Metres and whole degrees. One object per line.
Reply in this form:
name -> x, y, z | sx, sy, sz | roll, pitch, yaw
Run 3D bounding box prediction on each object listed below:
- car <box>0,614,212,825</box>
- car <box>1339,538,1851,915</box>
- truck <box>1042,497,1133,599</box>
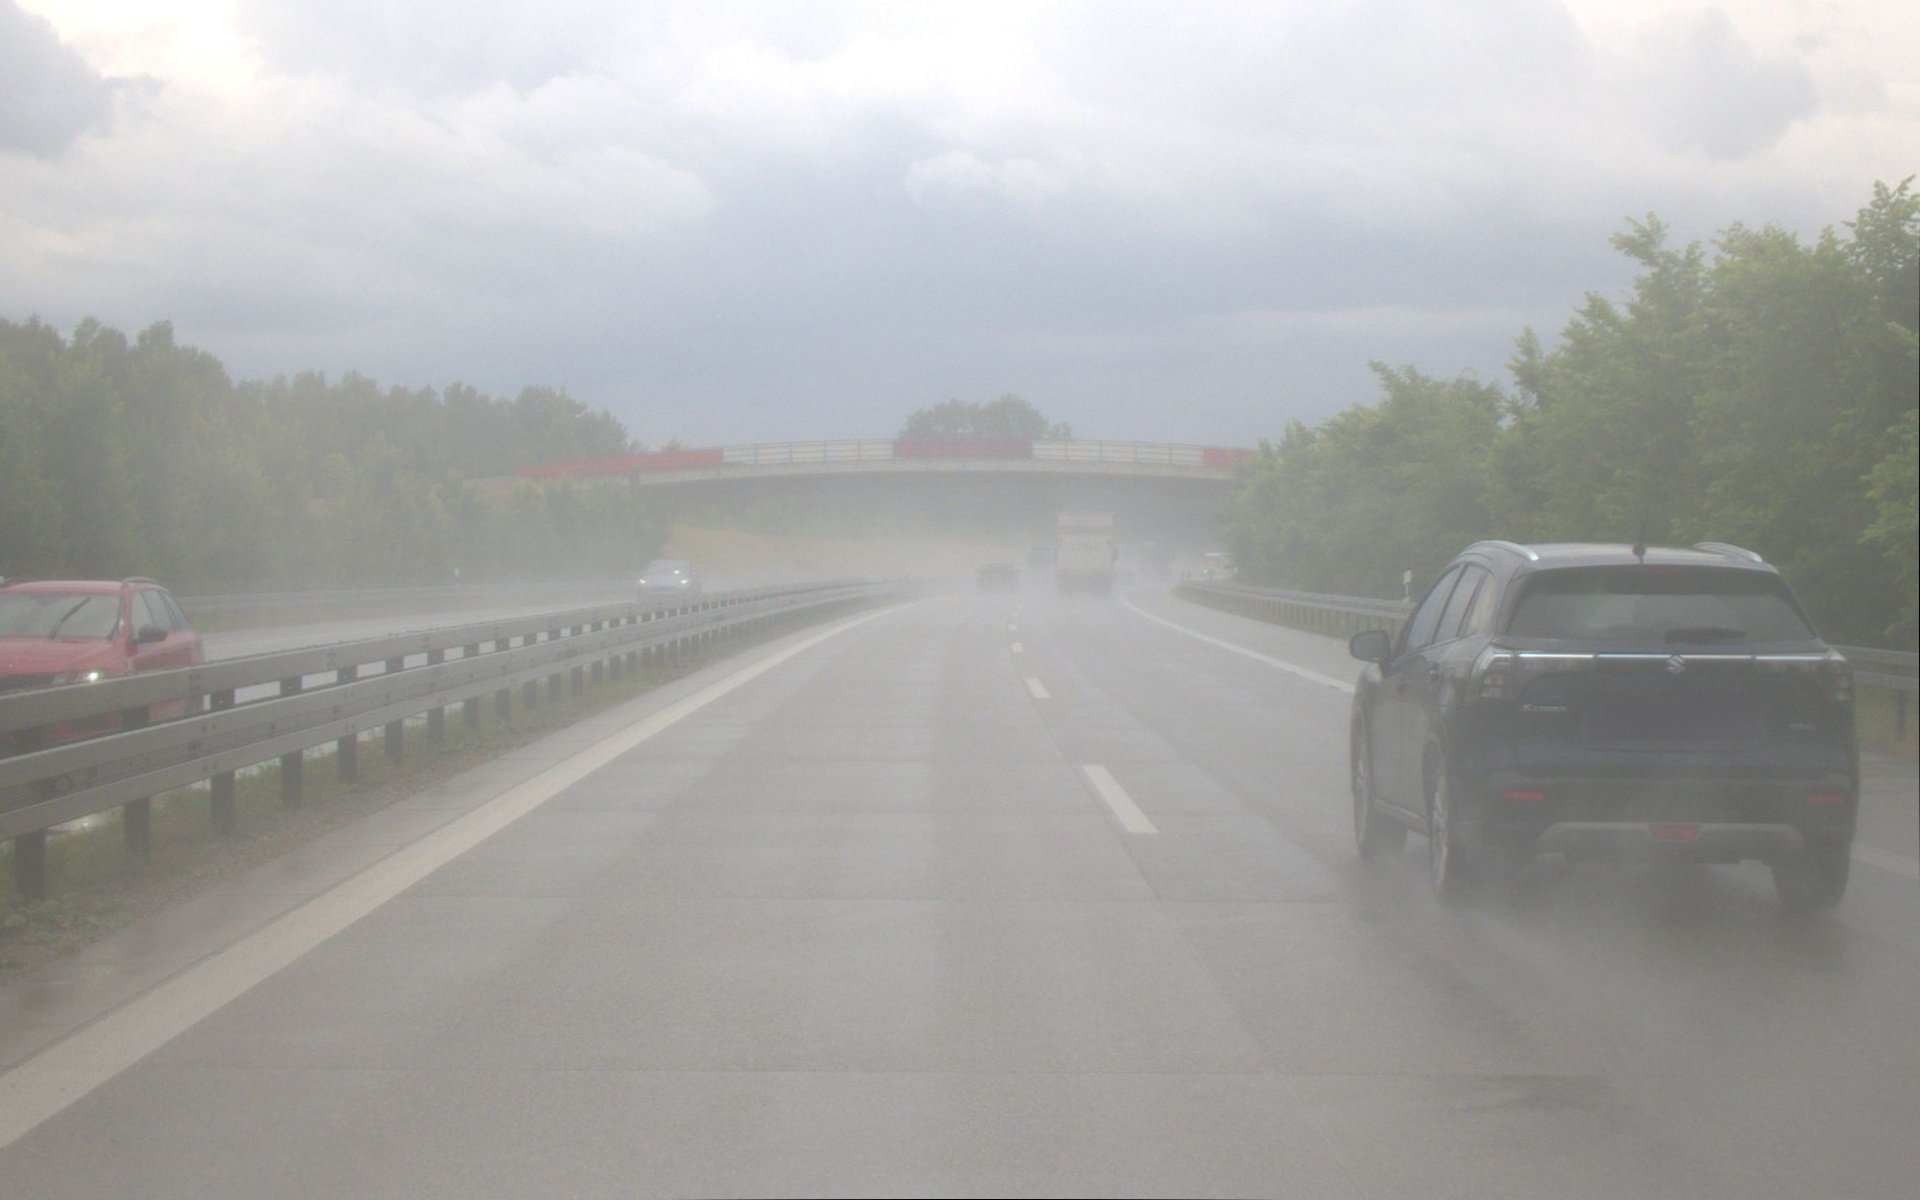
car -> -7.585, 0.965, 28.931 | 1.763, 1.459, 3.847 | -2, 2, -1
car -> 2.889, 0.515, 16.403 | 1.894, 1.570, 3.631 | 1, 1, 2
truck -> 5.735, -2.345, 153.288 | 3.244, 4.422, 8.243 | 0, 1, 8
